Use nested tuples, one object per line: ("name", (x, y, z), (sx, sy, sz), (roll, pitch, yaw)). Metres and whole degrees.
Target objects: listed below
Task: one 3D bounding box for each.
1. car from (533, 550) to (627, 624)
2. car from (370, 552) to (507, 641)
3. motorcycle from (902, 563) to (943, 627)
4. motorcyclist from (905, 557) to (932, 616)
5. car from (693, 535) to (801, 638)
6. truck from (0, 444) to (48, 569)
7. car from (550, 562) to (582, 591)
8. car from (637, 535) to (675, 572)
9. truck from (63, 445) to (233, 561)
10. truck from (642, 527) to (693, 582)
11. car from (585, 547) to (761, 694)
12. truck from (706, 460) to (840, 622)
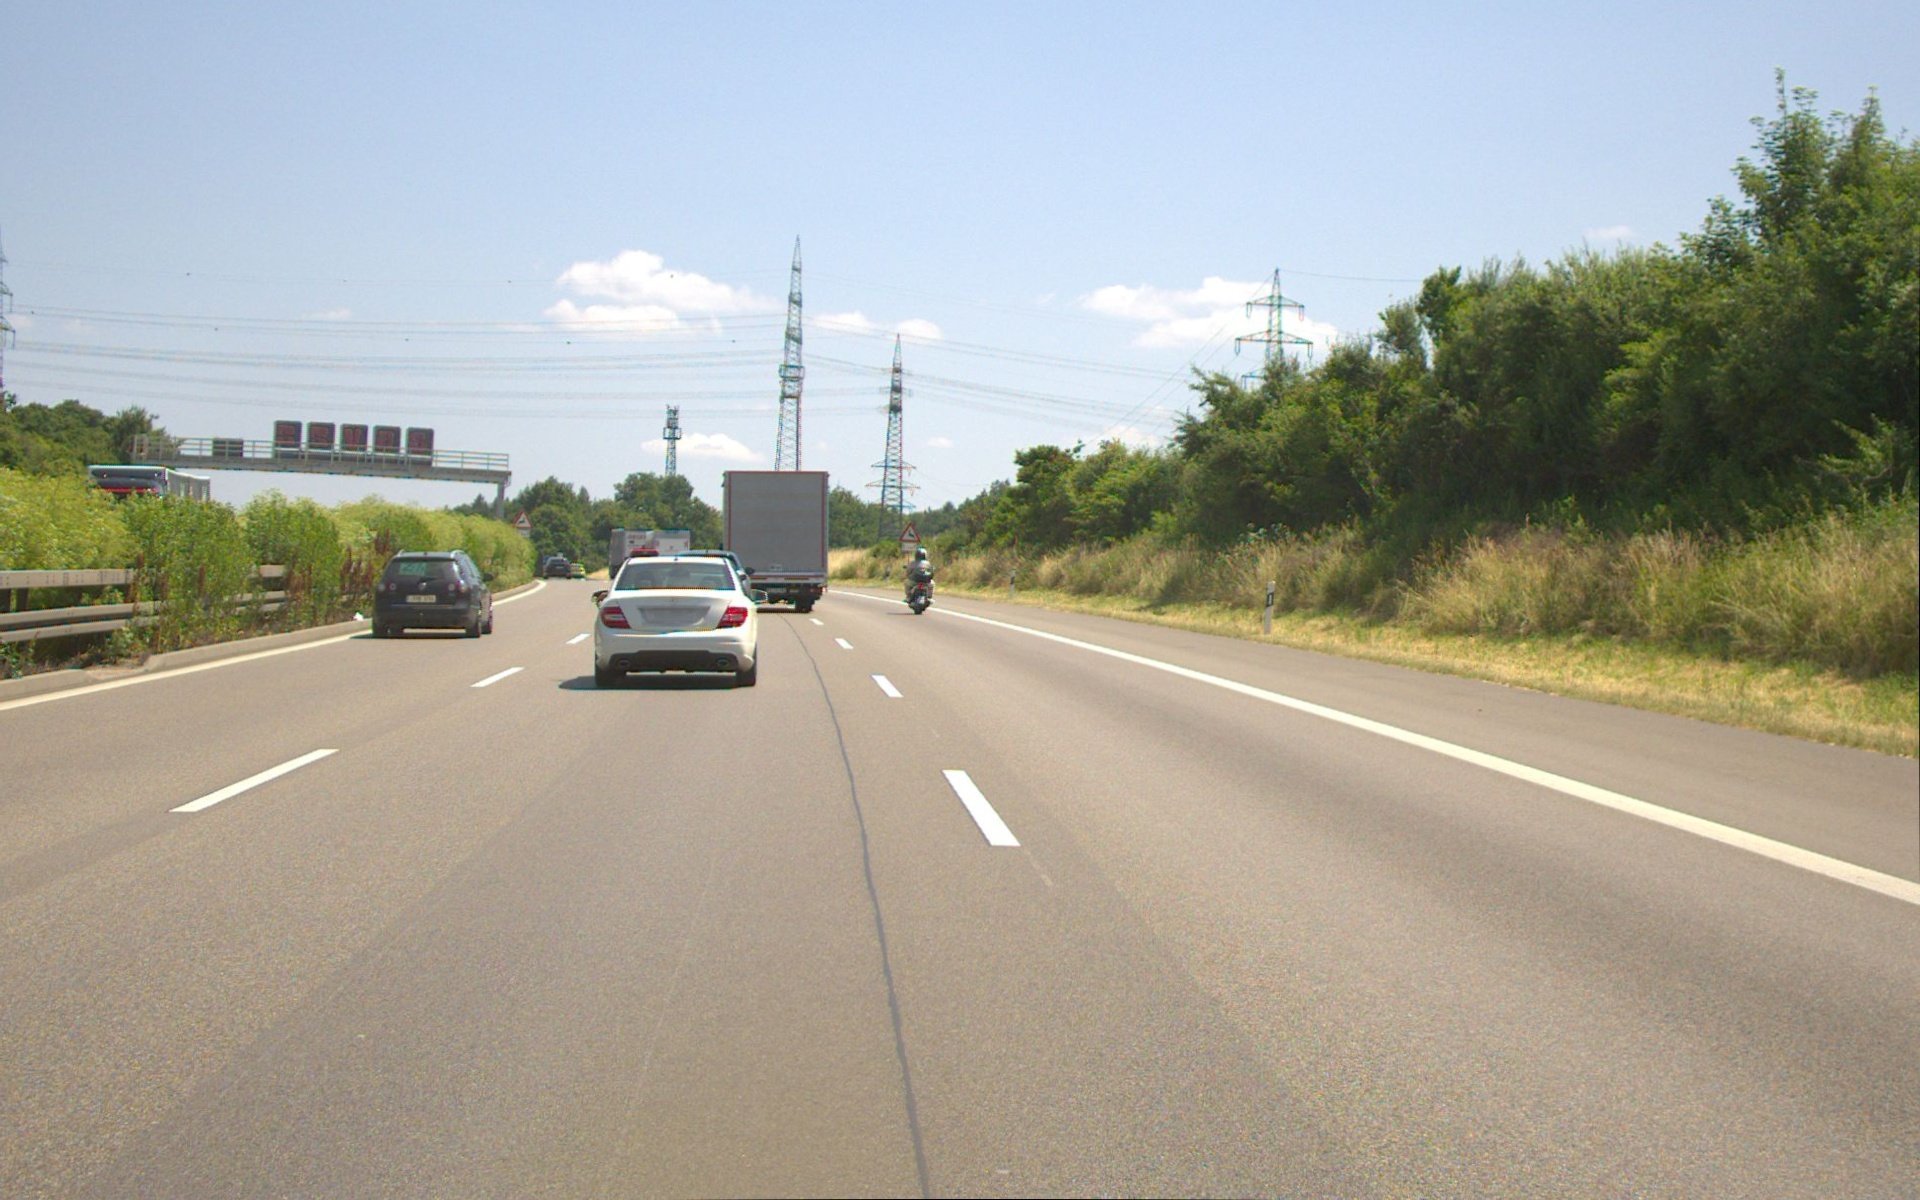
("car", (-8.443, -0.312, 76.585), (1.838, 1.535, 3.915), (2, 1, -3))
("car", (-8.868, -0.088, 58.715), (1.756, 1.424, 4.000), (0, 1, 0))
("motorcycle", (-0.946, -0.132, 86.261), (0.809, 1.602, 1.783), (1, 0, -7))
("motorcyclist", (-1.039, -0.346, 86.126), (0.572, 1.474, 0.701), (0, 1, -7))
("car", (-4.350, -0.305, 69.762), (1.993, 2.007, 4.001), (0, 1, -6))
("truck", (-27.572, -2.567, 94.188), (2.458, 3.444, 14.690), (0, 1, -5))
("car", (-26.611, -1.605, 232.354), (1.993, 1.853, 4.001), (1, 1, -5))
("car", (-15.984, -2.463, 180.867), (1.901, 1.919, 4.001), (0, 1, -4))
("truck", (-28.503, -3.352, 121.612), (3.229, 3.599, 18.535), (3, 1, -6))
("truck", (-21.374, -3.283, 250.769), (3.483, 3.899, 7.291), (1, 0, -6))
("car", (-3.153, 0.191, 38.393), (1.819, 1.535, 3.915), (0, 1, -3))
("truck", (-4.909, -1.479, 88.587), (3.220, 3.911, 9.062), (1, 0, -4))
